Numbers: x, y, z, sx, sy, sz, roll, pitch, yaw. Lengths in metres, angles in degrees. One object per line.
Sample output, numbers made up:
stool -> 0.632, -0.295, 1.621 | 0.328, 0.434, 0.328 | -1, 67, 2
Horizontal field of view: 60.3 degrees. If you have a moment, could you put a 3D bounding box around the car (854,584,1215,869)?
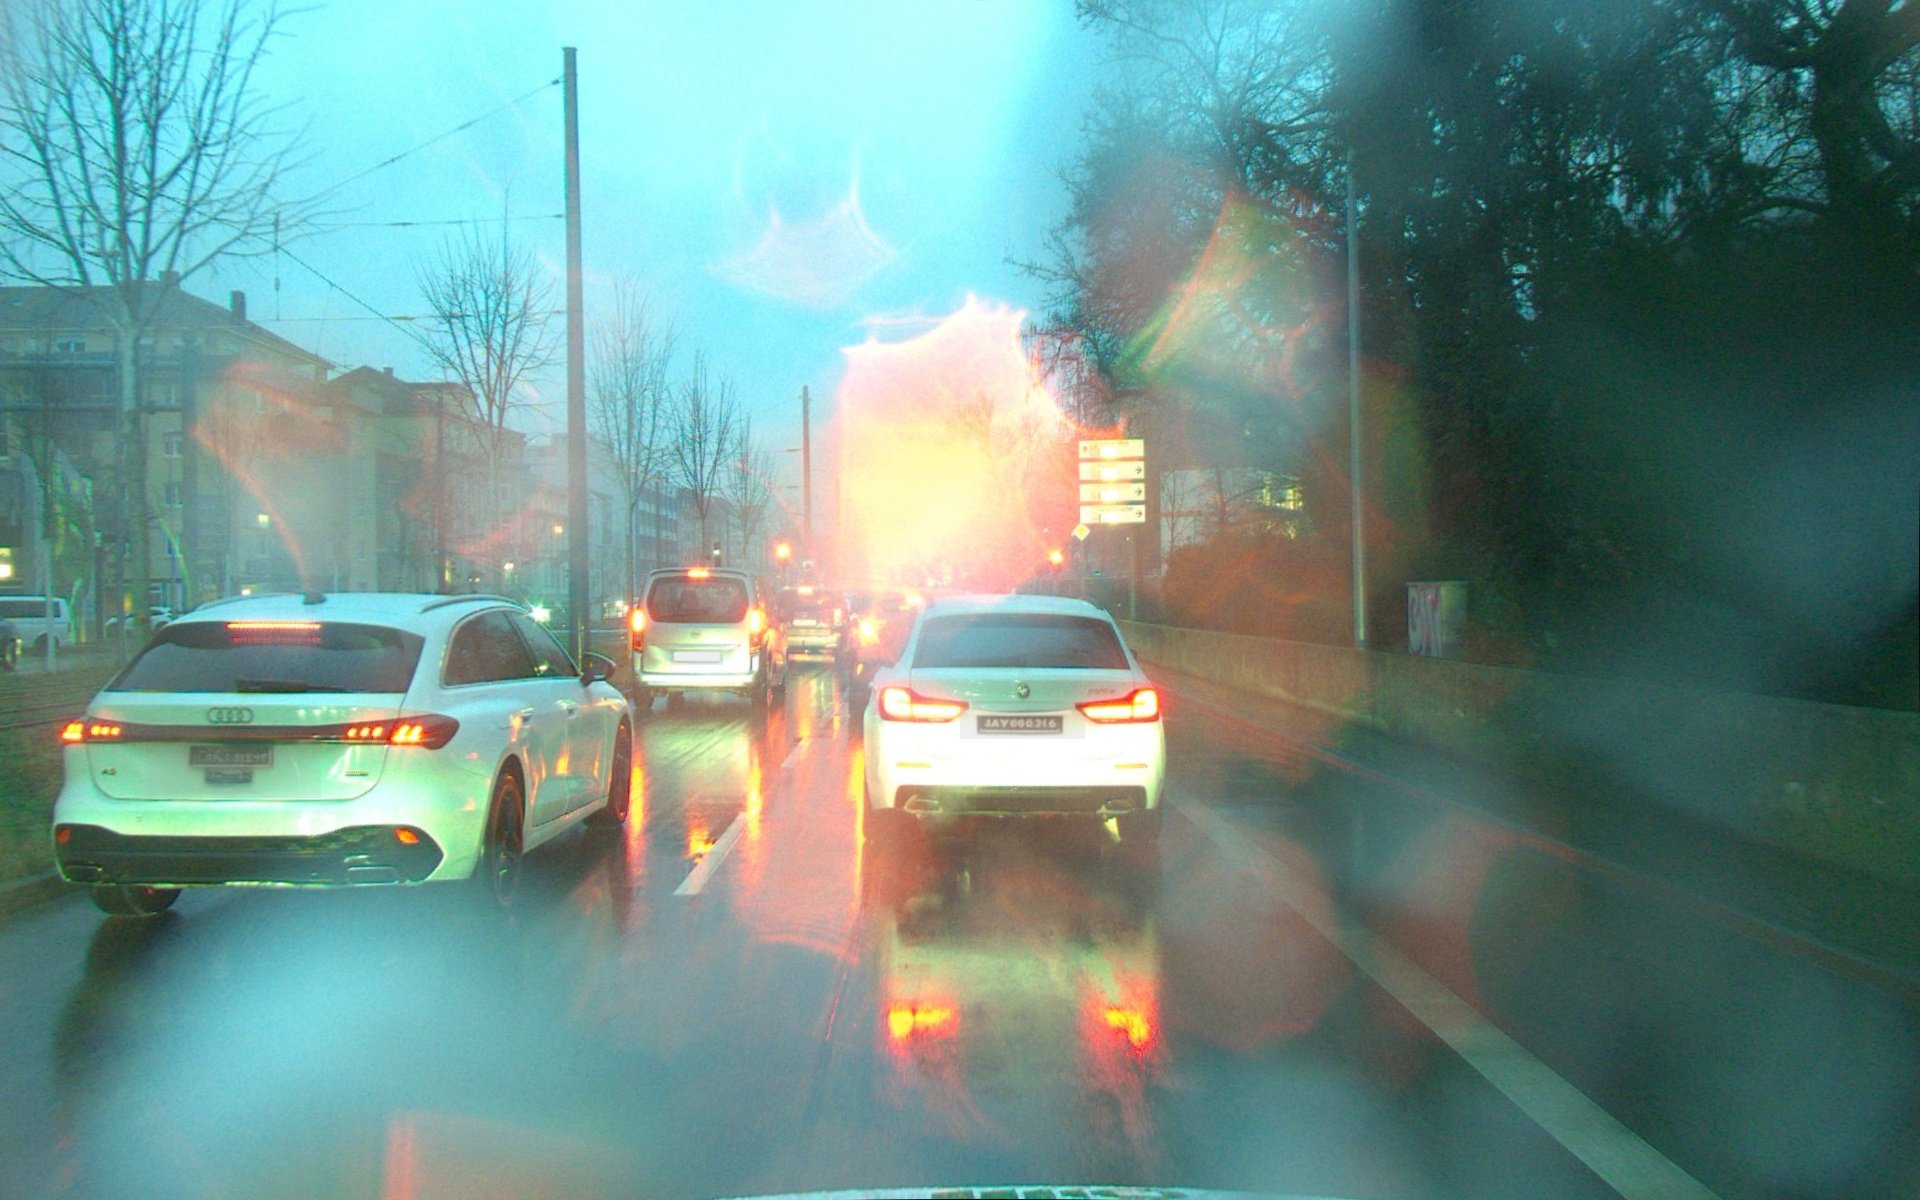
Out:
car -> 0.370, 0.667, 11.055 | 1.959, 1.534, 4.162 | 0, 0, -1

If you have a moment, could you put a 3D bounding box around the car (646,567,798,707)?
car -> -3.217, 0.467, 23.110 | 1.758, 1.766, 4.533 | 0, 0, -4

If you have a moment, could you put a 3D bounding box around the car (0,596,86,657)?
car -> -32.583, 0.920, 55.802 | 1.966, 1.945, 5.130 | -1, 1, 43

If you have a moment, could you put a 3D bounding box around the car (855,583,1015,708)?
car -> -0.328, 0.523, 21.714 | 1.896, 1.483, 4.162 | 0, 0, -1

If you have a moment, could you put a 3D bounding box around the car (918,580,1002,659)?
car -> -0.030, 0.393, 37.105 | 1.770, 1.674, 3.999 | 0, 0, -1

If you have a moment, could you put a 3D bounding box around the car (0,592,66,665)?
car -> -24.082, 0.698, 40.268 | 1.856, 1.749, 4.917 | -1, 0, 1

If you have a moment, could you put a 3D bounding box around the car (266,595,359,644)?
car -> -27.549, 0.781, 70.568 | 1.953, 1.945, 5.163 | -1, 0, 0

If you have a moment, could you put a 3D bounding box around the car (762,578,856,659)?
car -> -3.274, 0.368, 36.449 | 1.770, 1.674, 3.999 | 0, 0, -1

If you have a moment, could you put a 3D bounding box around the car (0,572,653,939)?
car -> -2.915, 0.608, 8.782 | 1.809, 1.430, 4.613 | 0, 0, -2

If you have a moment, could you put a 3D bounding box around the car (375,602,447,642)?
car -> -24.878, 0.965, 75.112 | 1.858, 1.662, 4.578 | -1, 0, -3
